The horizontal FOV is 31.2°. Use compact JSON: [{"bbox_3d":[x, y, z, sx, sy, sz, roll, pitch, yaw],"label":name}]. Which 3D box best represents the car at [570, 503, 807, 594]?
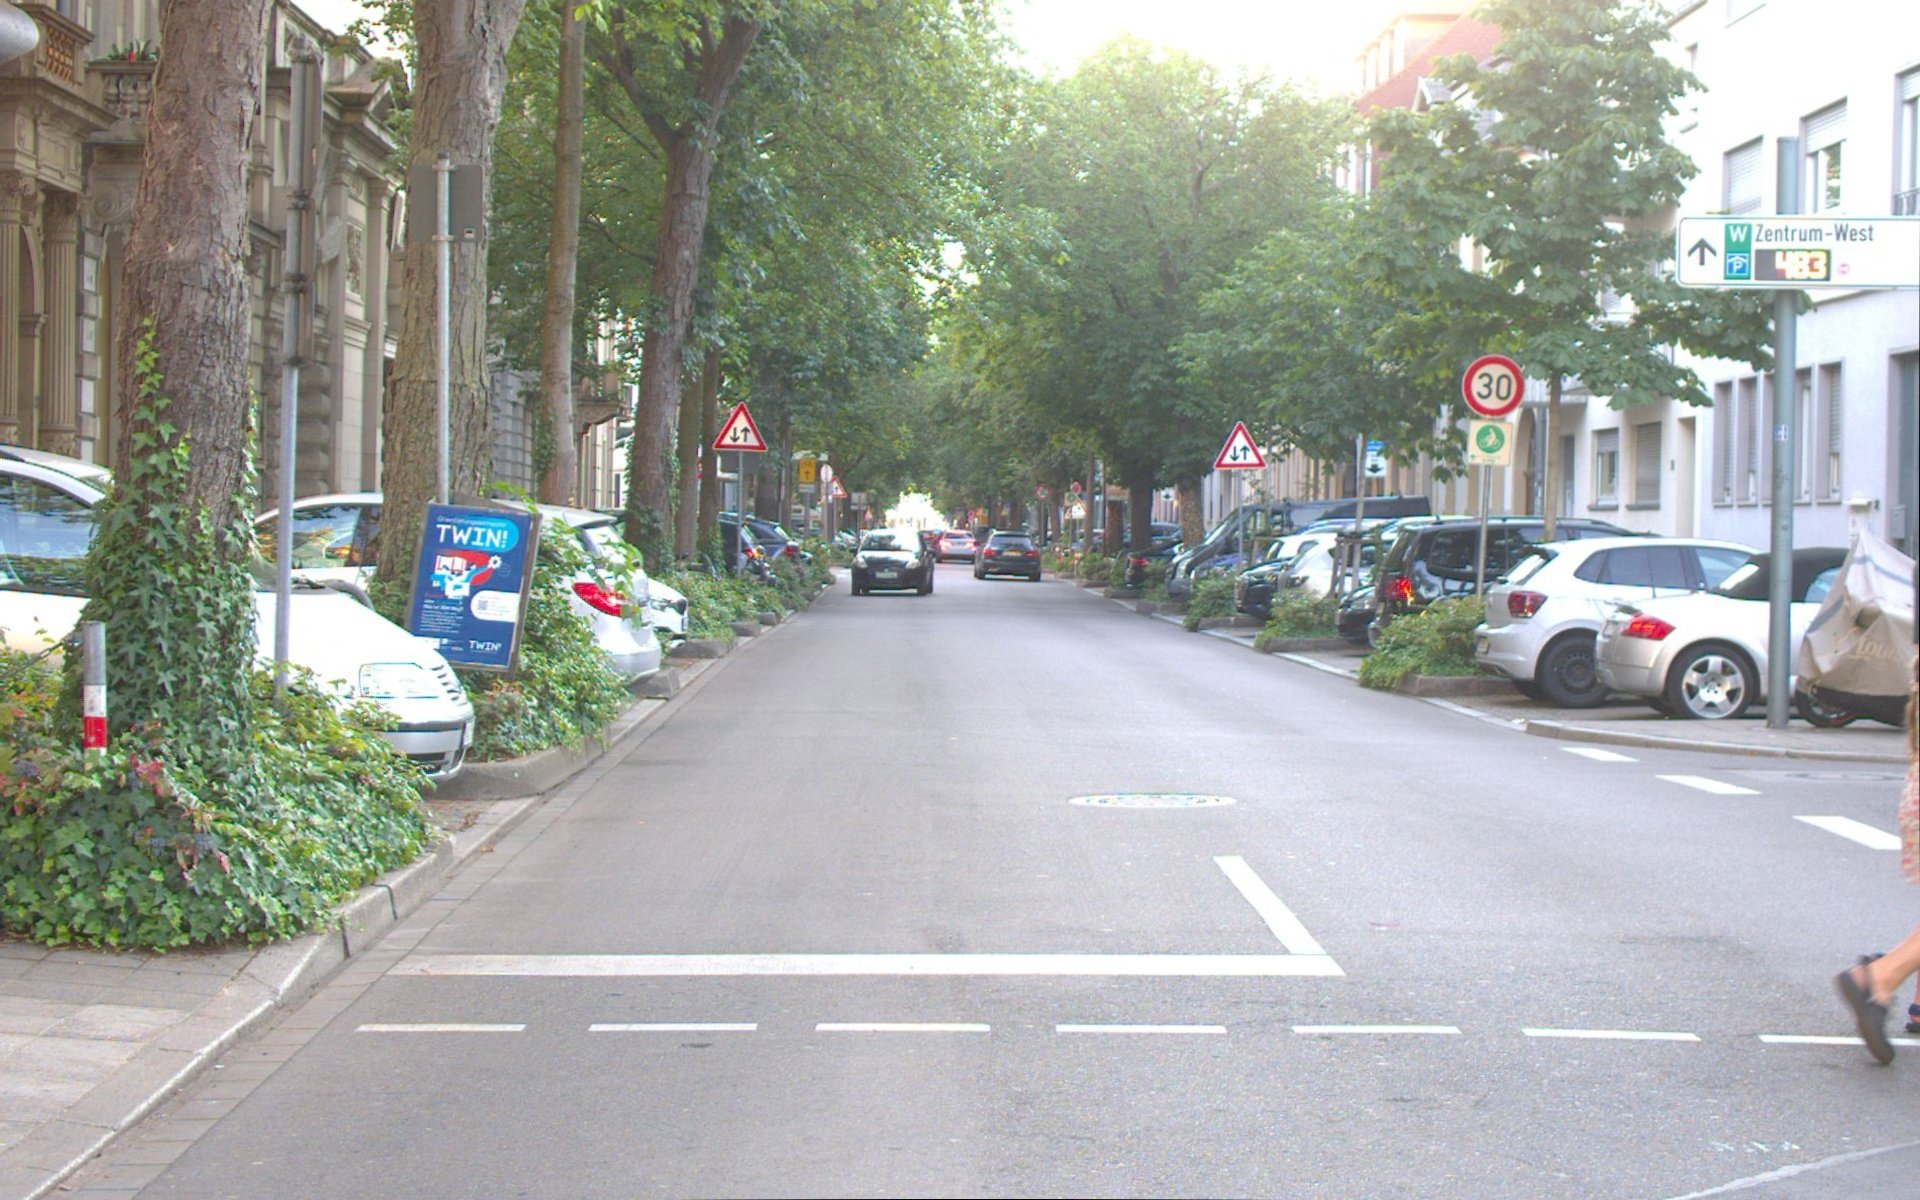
[{"bbox_3d":[-5.383,-1.036,68.506,4.547,1.686,1.833,1,1,0],"label":"car"}]

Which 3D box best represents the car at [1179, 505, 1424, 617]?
[{"bbox_3d":[5.889,-0.681,59.520,4.014,1.824,1.707,1,1,-1],"label":"car"}]

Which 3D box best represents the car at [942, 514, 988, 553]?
[{"bbox_3d":[0.200,-2.949,151.404,1.924,1.654,4.000,1,1,-1],"label":"car"}]

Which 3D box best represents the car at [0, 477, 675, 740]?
[{"bbox_3d":[-4.303,0.035,23.506,4.547,1.683,1.833,1,1,0],"label":"car"}]

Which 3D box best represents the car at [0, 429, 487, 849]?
[{"bbox_3d":[-4.565,0.139,15.952,4.547,1.828,1.833,1,1,-3],"label":"car"}]

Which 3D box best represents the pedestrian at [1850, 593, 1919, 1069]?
[{"bbox_3d":[2.912,0.658,9.932,0.539,1.331,0.506,2,2,4],"label":"pedestrian"}]

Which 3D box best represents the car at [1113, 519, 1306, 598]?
[{"bbox_3d":[5.384,-0.907,74.512,4.014,1.596,1.707,1,1,-1],"label":"car"}]

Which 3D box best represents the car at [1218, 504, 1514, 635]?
[{"bbox_3d":[5.799,-0.451,49.382,4.014,1.809,1.707,0,1,0],"label":"car"}]

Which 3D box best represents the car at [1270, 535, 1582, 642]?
[{"bbox_3d":[6.339,-0.173,47.085,4.014,1.404,1.707,0,1,0],"label":"car"}]

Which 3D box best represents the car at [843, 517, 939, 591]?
[{"bbox_3d":[-1.530,-1.054,77.794,1.904,1.572,3.991,2,1,2],"label":"car"}]

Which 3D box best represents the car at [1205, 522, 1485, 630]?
[{"bbox_3d":[5.815,-0.371,52.241,4.014,1.524,1.707,1,1,-1],"label":"car"}]

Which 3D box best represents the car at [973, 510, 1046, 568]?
[{"bbox_3d":[1.389,-1.754,97.914,1.825,1.556,4.028,2,1,-2],"label":"car"}]

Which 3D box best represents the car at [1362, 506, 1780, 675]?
[{"bbox_3d":[6.316,-0.116,35.830,4.014,1.684,1.707,0,1,0],"label":"car"}]

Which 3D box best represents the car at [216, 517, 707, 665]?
[{"bbox_3d":[-4.834,-0.109,33.795,4.547,1.367,1.833,1,1,0],"label":"car"}]

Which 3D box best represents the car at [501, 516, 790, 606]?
[{"bbox_3d":[-5.108,-0.647,56.305,4.547,1.405,1.833,1,1,0],"label":"car"}]

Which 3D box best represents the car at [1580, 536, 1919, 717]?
[{"bbox_3d":[6.996,0.193,26.768,4.014,1.338,1.707,0,1,0],"label":"car"}]

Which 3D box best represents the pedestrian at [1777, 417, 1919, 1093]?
[{"bbox_3d":[2.822,0.414,9.589,0.888,1.809,0.794,1,2,4],"label":"pedestrian"}]

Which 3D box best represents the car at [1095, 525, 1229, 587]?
[{"bbox_3d":[6.293,-1.386,107.211,4.014,1.824,1.707,1,1,-1],"label":"car"}]

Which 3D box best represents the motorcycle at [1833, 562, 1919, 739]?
[{"bbox_3d":[6.954,0.348,23.594,1.800,1.195,0.613,1,1,9],"label":"motorcycle"}]

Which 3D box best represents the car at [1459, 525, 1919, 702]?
[{"bbox_3d":[6.407,0.095,29.373,4.014,1.437,1.707,0,1,0],"label":"car"}]
